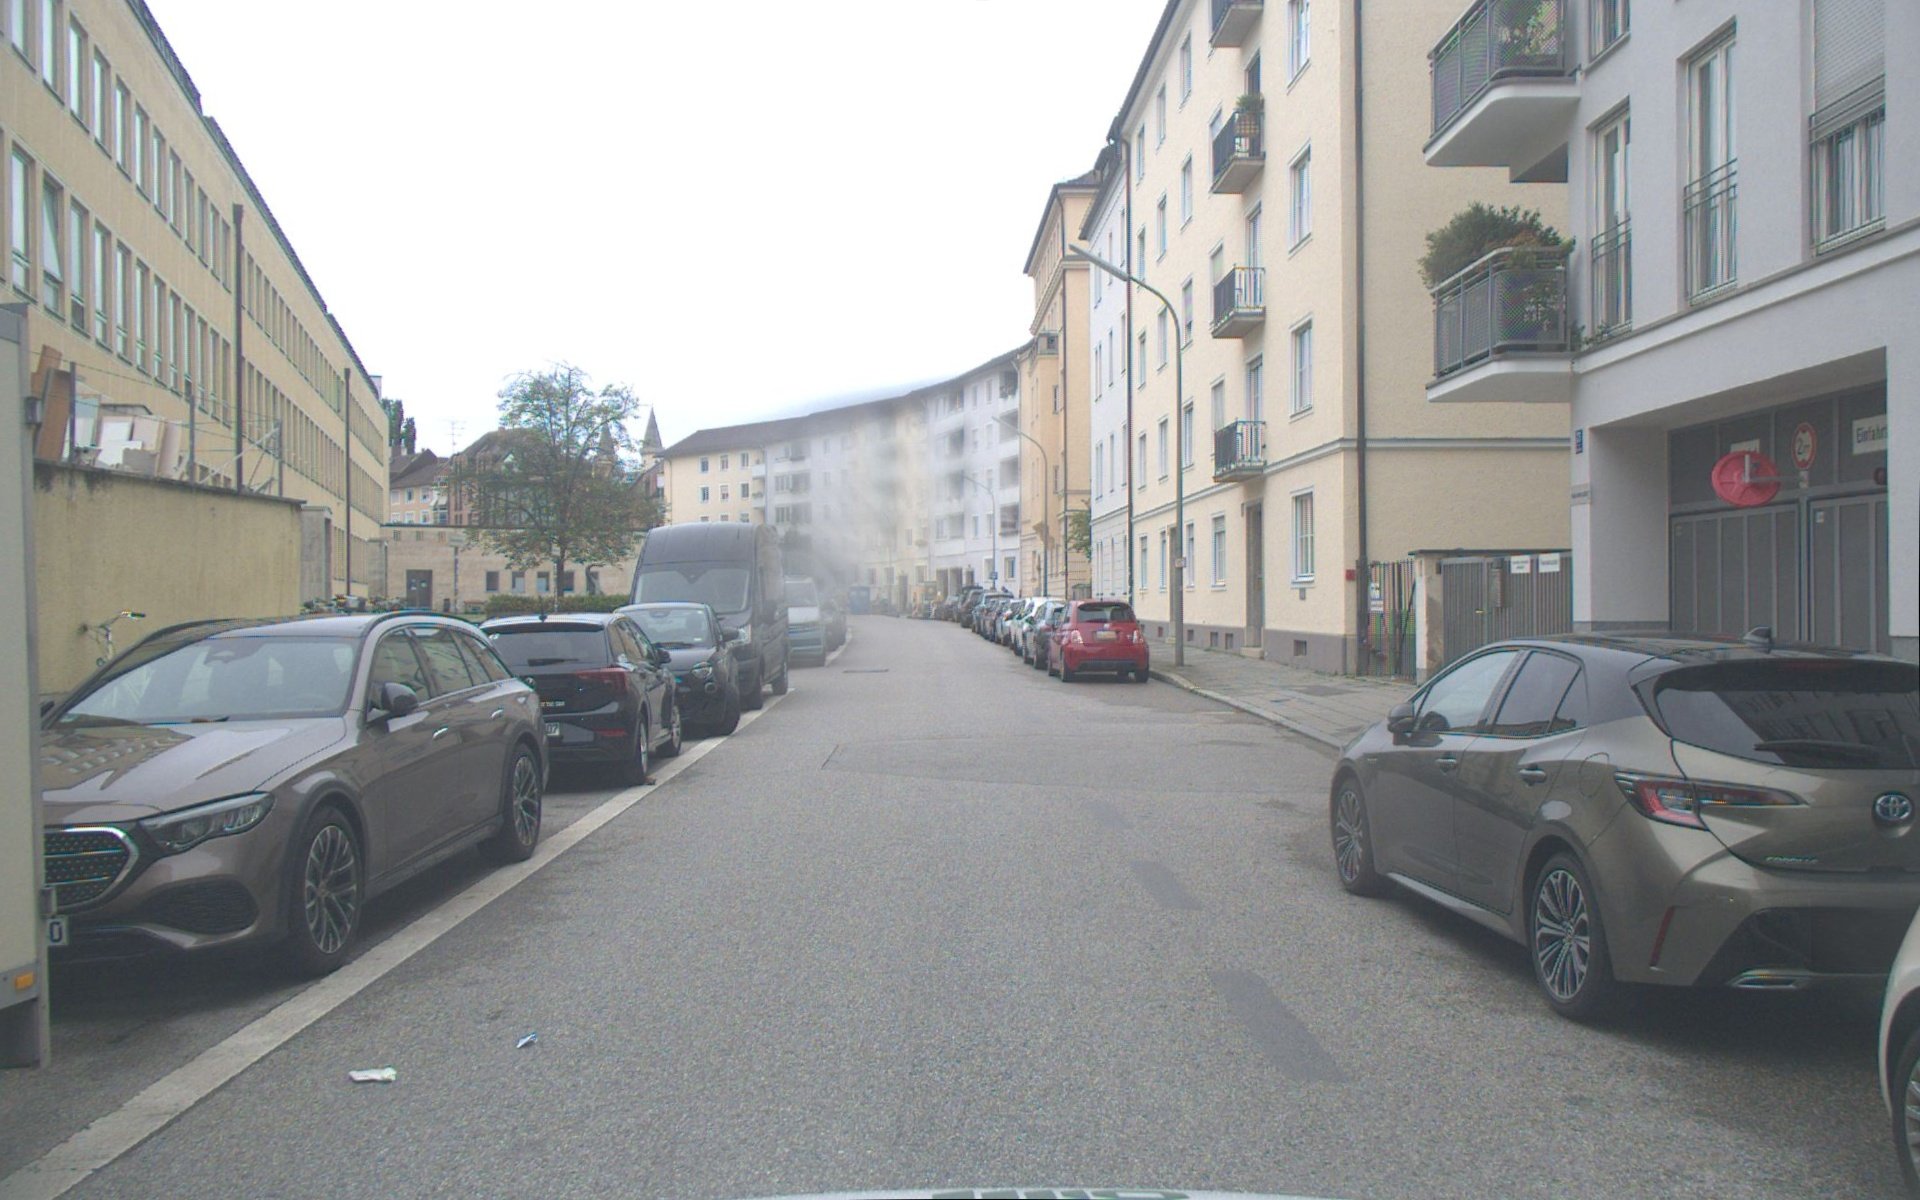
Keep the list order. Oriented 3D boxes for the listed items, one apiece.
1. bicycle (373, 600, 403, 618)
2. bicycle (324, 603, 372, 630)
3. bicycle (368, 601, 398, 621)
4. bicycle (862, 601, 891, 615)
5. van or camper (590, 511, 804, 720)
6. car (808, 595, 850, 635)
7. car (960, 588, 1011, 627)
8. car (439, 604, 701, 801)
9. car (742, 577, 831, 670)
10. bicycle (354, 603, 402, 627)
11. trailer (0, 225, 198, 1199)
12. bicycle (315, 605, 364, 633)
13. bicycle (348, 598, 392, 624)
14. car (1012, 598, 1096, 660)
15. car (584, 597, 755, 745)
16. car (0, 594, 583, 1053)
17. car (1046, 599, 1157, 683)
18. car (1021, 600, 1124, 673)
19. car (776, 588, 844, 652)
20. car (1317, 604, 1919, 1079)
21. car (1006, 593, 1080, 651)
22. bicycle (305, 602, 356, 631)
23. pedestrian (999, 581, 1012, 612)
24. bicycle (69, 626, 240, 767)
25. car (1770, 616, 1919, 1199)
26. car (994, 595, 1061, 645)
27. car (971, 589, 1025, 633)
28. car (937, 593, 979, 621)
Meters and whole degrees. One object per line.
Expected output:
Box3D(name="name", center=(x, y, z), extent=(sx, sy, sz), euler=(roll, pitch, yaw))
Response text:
Box3D(name="bicycle", center=(-30.073, 0.475, 86.964), extent=(1.448, 0.961, 0.412), euler=(1, 0, -19))
Box3D(name="bicycle", center=(-22.423, 0.613, 60.594), extent=(1.584, 0.961, 0.499), euler=(1, 0, -26))
Box3D(name="bicycle", center=(-28.462, 0.548, 81.579), extent=(1.385, 0.961, 0.412), euler=(1, 0, -19))
Box3D(name="bicycle", center=(-6.787, 0.644, 133.952), extent=(2.205, 1.088, 0.912), euler=(0, 0, -27))
Box3D(name="van or camper", center=(-3.779, 0.190, 24.913), extent=(2.246, 2.697, 5.561), euler=(-2, 0, 0))
Box3D(name="car", center=(-5.488, 0.611, 69.514), extent=(1.599, 1.520, 4.272), euler=(-3, 1, -4))
Box3D(name="car", center=(1.162, 0.325, 77.390), extent=(2.126, 1.769, 5.022), euler=(1, 0, -2))
Box3D(name="car", center=(-3.431, 0.819, 15.288), extent=(1.642, 1.461, 4.283), euler=(-2, 0, -4))
Box3D(name="car", center=(-3.928, 0.483, 37.876), extent=(1.877, 1.994, 4.956), euler=(0, 0, -5))
Box3D(name="bicycle", center=(-24.890, 0.645, 70.762), extent=(1.919, 0.961, 0.413), euler=(1, 0, -15))
Box3D(name="trailer", center=(-3.390, 0.361, 2.685), extent=(1.935, 2.514, 4.578), euler=(-3, 0, 2))
Box3D(name="bicycle", center=(-21.863, 0.656, 58.286), extent=(1.581, 0.961, 0.500), euler=(1, 0, -21))
Box3D(name="bicycle", center=(-26.392, 0.491, 73.974), extent=(1.817, 1.115, 0.699), euler=(1, 0, -19))
Box3D(name="car", center=(2.349, 0.705, 42.101), extent=(1.690, 1.454, 4.291), euler=(1, 0, -3))
Box3D(name="car", center=(-3.383, 0.767, 19.890), extent=(1.620, 1.523, 3.905), euler=(-2, 0, -5))
Box3D(name="car", center=(-3.463, 0.799, 8.382), extent=(1.825, 1.568, 5.092), euler=(-2, 0, 1))
Box3D(name="car", center=(2.643, 0.736, 31.557), extent=(1.622, 1.454, 3.754), euler=(1, 0, -3))
Box3D(name="car", center=(2.416, 0.756, 36.528), extent=(1.737, 1.454, 4.613), euler=(1, 0, -3))
Box3D(name="car", center=(-4.323, 0.548, 48.187), extent=(1.680, 1.719, 4.139), euler=(-2, 0, -2))
Box3D(name="car", center=(3.073, 0.795, 7.575), extent=(1.736, 1.501, 4.215), euler=(0, 0, -4))
Box3D(name="car", center=(2.336, 0.601, 47.326), extent=(1.618, 1.570, 3.990), euler=(1, 0, -4))
Box3D(name="bicycle", center=(-21.335, 0.566, 56.086), extent=(1.581, 0.961, 0.500), euler=(1, 0, -21))
Box3D(name="pedestrian", center=(2.527, -0.199, 92.148), extent=(0.605, 1.719, 0.919), euler=(-3, 0, -2))
Box3D(name="bicycle", center=(-7.765, 0.892, 16.035), extent=(0.786, 1.255, 1.867), euler=(-1, 0, -2))
Box3D(name="car", center=(3.266, 0.816, 3.119), extent=(1.584, 1.492, 3.746), euler=(1, 0, -1))
Box3D(name="car", center=(2.083, 0.600, 52.346), extent=(1.690, 1.475, 4.185), euler=(1, 0, -4))
Box3D(name="car", center=(1.517, 0.422, 67.135), extent=(1.810, 1.692, 4.495), euler=(1, 0, -3))
Box3D(name="car", center=(-0.156, 0.362, 93.820), extent=(1.871, 1.503, 4.940), euler=(1, 0, -6))
